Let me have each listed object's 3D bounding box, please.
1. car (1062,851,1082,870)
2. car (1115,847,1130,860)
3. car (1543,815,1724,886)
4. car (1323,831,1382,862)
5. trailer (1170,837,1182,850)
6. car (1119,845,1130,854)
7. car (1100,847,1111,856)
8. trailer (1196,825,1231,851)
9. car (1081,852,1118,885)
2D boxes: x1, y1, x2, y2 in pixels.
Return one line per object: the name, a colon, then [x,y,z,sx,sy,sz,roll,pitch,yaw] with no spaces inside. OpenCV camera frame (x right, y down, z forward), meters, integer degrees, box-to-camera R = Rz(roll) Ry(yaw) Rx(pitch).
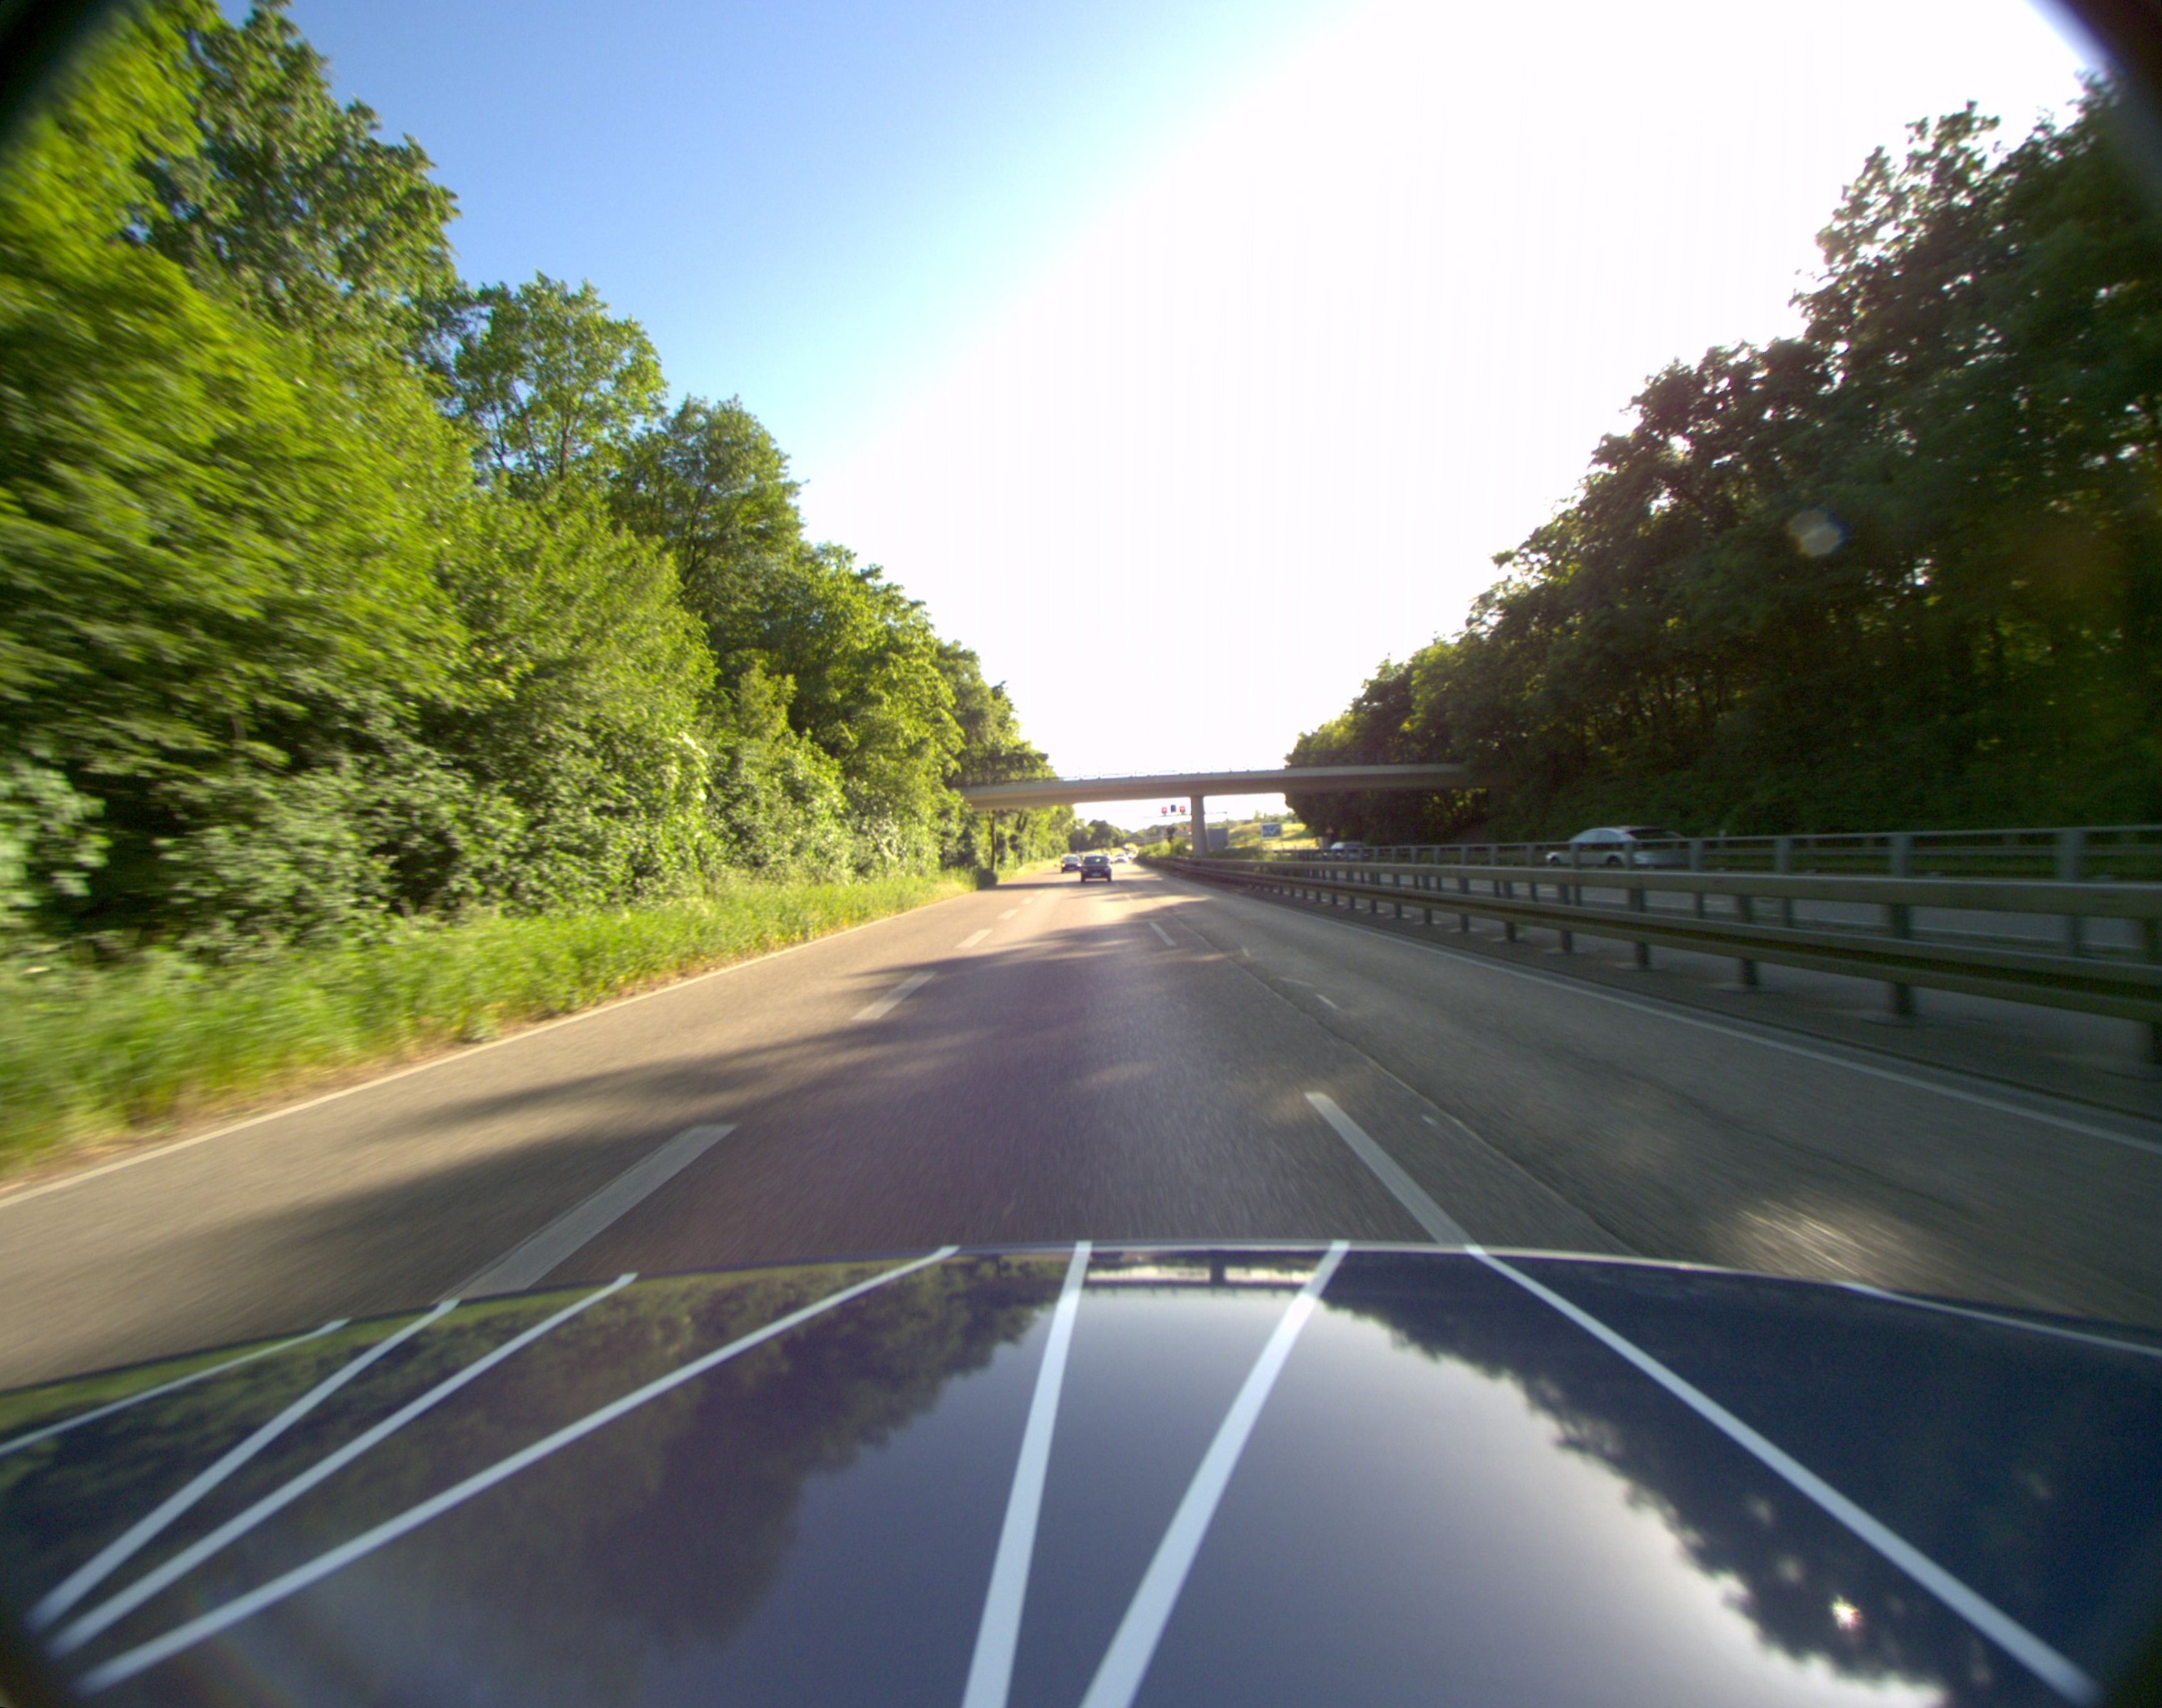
car: [-0.764,0.560,66.314,1.713,1.565,3.422,-2,1,0]
car: [5.964,-0.092,109.830,1.998,1.793,4.000,-2,1,2]
car: [15.536,-0.116,21.725,1.998,1.740,4.372,-2,1,1]
car: [16.207,-0.452,45.621,1.998,1.740,4.343,-2,1,1]
trailer: [30.342,-3.436,243.186,3.029,3.965,14.029,-2,1,4]
car: [8.413,-0.875,146.689,1.998,1.740,4.374,-2,1,6]
car: [4.832,-0.522,147.707,1.998,1.740,4.373,-2,1,4]
trailer: [17.841,-2.128,102.812,2.937,3.150,11.916,-2,1,2]
car: [1.072,0.741,41.933,1.712,1.565,3.423,-5,1,4]
